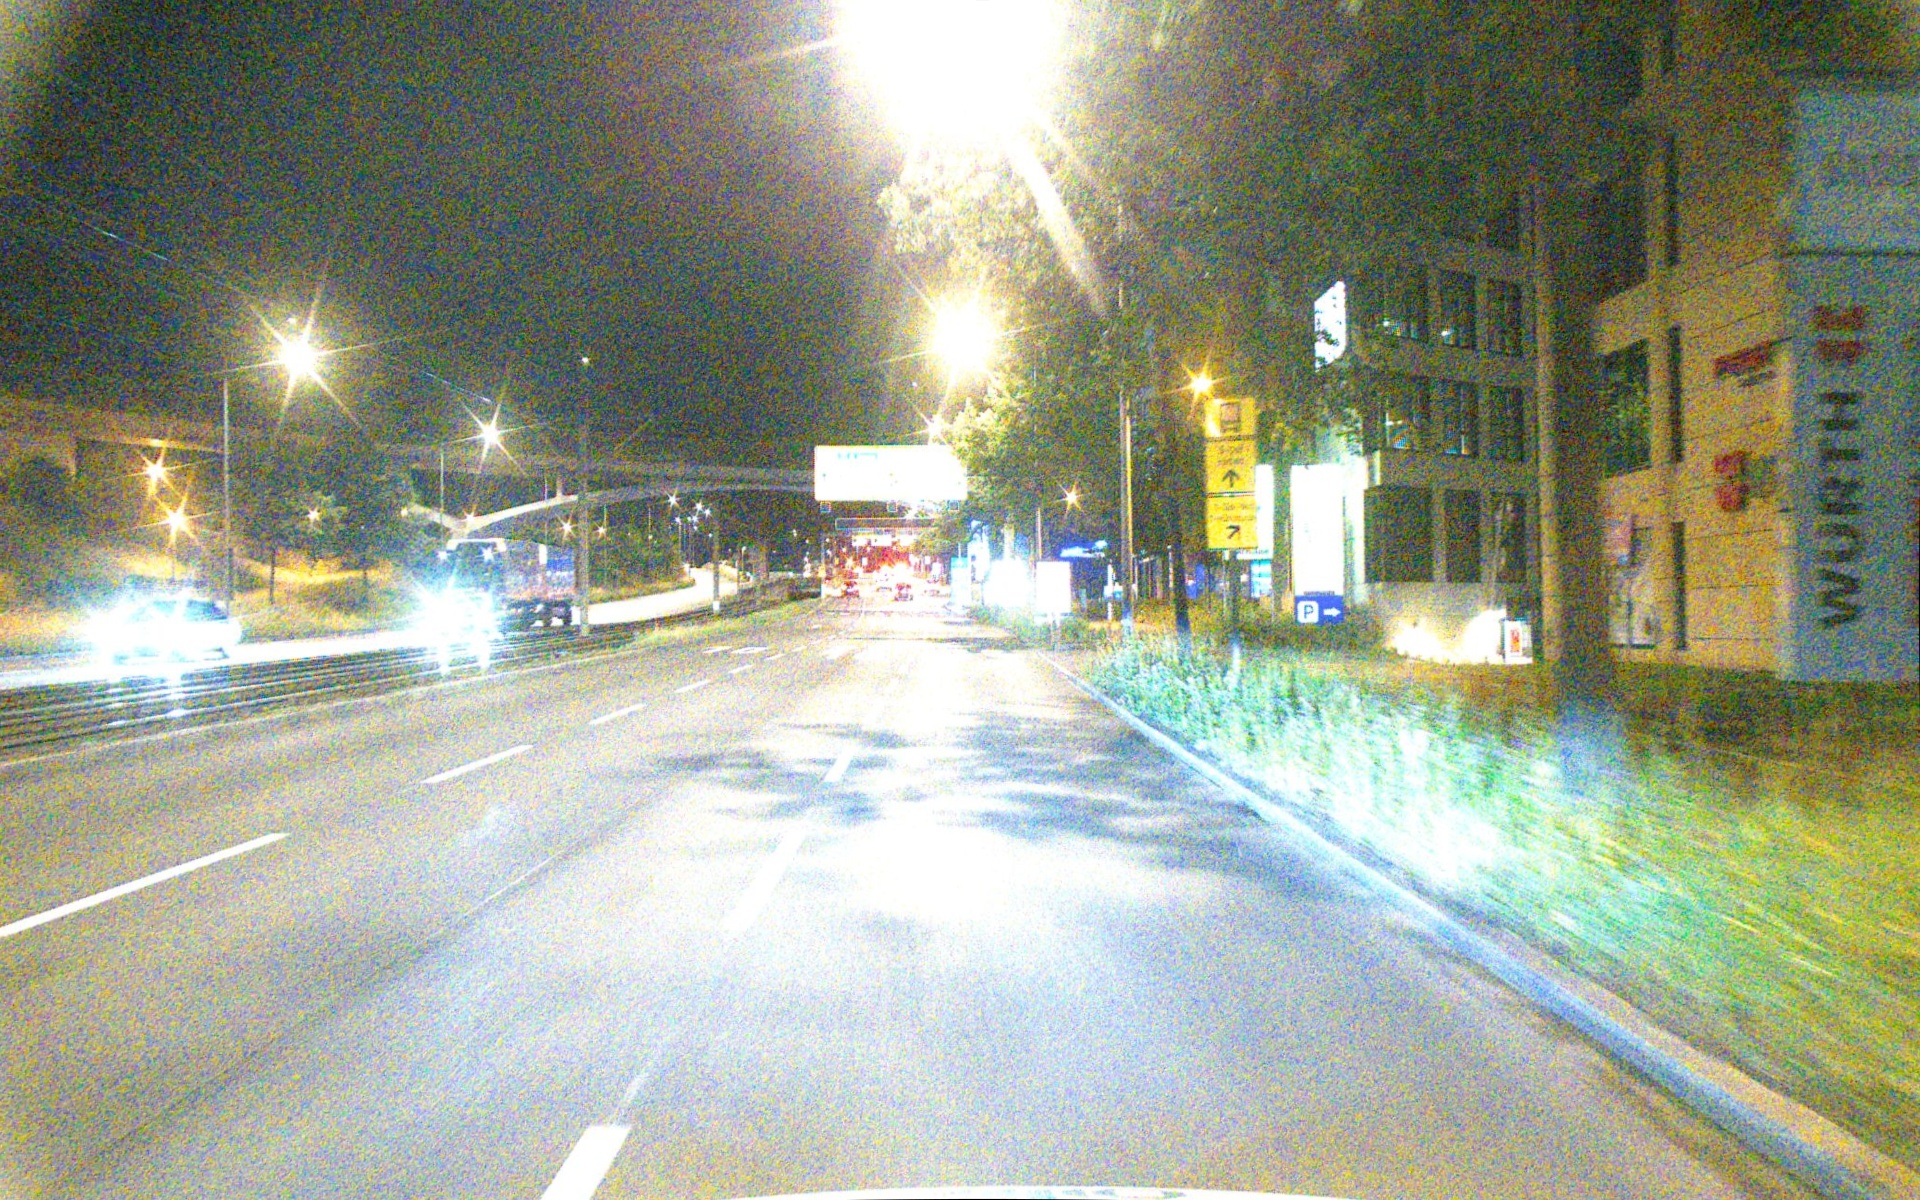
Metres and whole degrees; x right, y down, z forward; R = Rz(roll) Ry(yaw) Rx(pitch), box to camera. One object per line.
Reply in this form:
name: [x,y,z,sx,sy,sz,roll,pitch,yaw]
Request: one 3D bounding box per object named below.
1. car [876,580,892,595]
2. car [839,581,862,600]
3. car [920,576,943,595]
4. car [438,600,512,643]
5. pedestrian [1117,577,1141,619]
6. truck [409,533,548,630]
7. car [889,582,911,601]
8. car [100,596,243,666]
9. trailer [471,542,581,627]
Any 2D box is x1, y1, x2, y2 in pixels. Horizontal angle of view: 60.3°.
car: [-8.832,-1.437,191.692,1.746,1.741,3.999,1,0,-1]
car: [-10.537,-0.887,159.354,1.928,1.741,3.999,1,0,-1]
car: [-3.264,-1.653,189.702,2.597,2.049,5.298,1,0,-1]
car: [-17.939,0.781,61.343,1.768,1.525,4.082,0,0,-4]
pedestrian: [7.116,-0.082,69.547,0.835,1.737,0.957,1,-1,-2]
truck: [-21.614,-0.761,75.049,3.607,4.024,10.415,1,0,-3]
car: [-5.574,-0.779,154.224,1.928,1.741,3.999,1,0,-1]
car: [-19.853,0.755,41.827,1.690,1.654,3.961,1,0,0]
trailer: [-22.012,-0.754,84.456,3.622,4.059,8.391,1,0,-2]
